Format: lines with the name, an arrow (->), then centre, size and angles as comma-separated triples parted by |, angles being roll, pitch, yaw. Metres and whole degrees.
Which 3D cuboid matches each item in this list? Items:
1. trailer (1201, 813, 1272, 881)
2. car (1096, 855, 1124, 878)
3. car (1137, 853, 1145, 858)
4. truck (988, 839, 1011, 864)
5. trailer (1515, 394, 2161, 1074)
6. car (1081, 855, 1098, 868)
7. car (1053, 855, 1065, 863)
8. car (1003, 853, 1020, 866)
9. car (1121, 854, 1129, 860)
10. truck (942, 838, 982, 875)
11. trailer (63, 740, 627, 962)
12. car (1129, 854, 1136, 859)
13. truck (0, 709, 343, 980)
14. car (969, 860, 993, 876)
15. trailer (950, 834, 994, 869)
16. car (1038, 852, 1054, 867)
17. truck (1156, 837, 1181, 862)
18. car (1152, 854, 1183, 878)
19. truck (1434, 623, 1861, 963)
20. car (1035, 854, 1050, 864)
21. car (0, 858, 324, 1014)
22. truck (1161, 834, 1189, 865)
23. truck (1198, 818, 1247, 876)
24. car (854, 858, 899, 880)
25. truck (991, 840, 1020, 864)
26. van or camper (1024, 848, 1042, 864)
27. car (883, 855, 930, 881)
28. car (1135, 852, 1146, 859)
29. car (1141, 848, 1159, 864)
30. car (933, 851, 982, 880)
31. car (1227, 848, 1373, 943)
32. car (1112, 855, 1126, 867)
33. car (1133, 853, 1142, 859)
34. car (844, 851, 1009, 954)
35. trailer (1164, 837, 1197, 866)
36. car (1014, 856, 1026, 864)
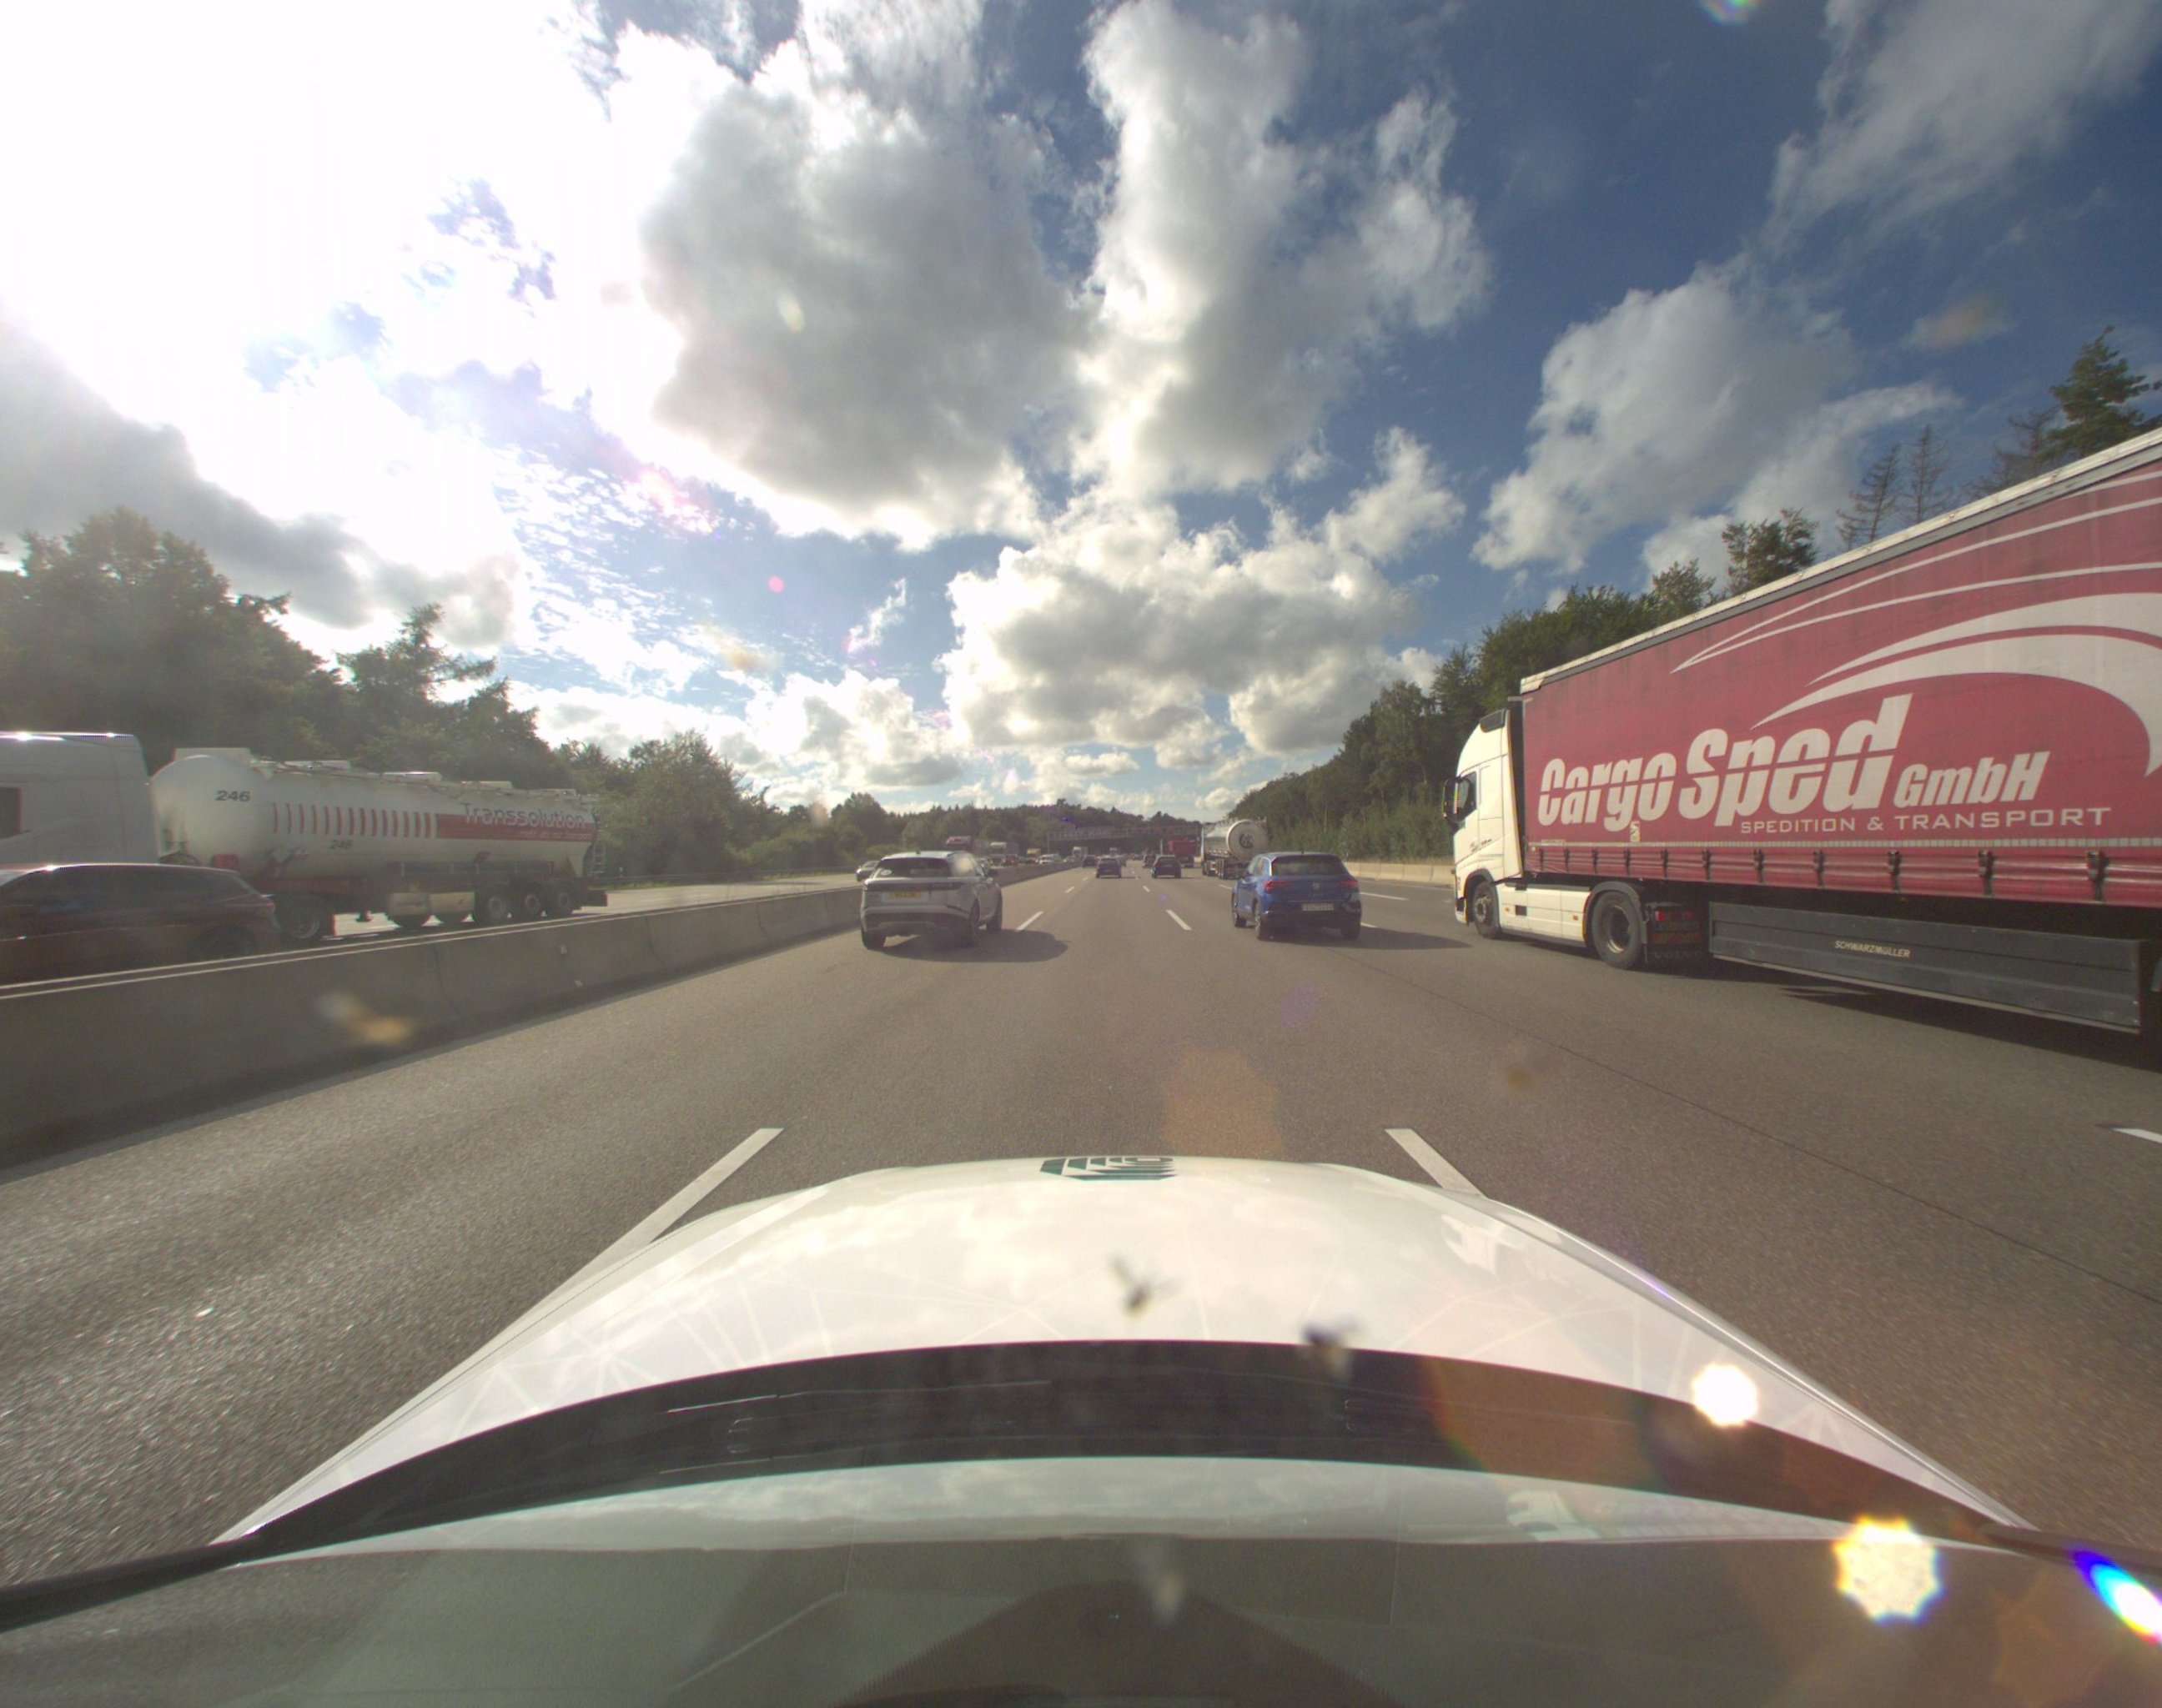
trailer -> 9.682, -0.422, 52.004 | 2.638, 3.767, 11.867 | -2, 0, 3
car -> 2.012, 0.846, 56.515 | 1.815, 1.546, 4.002 | -1, 0, 2
car -> 16.996, 0.465, 231.460 | 2.070, 1.457, 4.000 | -3, 0, 1
truck -> -13.960, -0.402, 140.414 | 2.806, 4.094, 6.068 | -1, 0, 4
trailer -> 7.841, -0.730, 5.569 | 2.763, 4.045, 13.719 | -1, 0, 2
car -> 1.110, 0.970, 103.866 | 1.933, 1.457, 4.005 | -3, 0, 5
car -> -4.250, 0.944, 157.841 | 1.775, 1.470, 4.336 | -1, 0, 4
car -> -10.698, 0.892, 125.314 | 1.839, 1.940, 5.037 | -1, 0, 3
car -> 11.751, 0.757, 218.899 | 2.068, 1.457, 4.003 | -3, 0, 2
truck -> -13.179, 0.254, 90.734 | 2.954, 3.858, 6.771 | -1, 0, 3
trailer -> -16.687, -0.057, 20.788 | 2.776, 3.945, 12.260 | -1, 0, 3
car -> 15.788, 0.757, 249.122 | 1.920, 1.457, 4.397 | -3, 0, 4
truck -> -17.022, -0.112, 13.884 | 2.777, 3.945, 6.449 | -1, 0, 2
car -> -9.901, 1.365, 80.895 | 1.596, 1.403, 4.004 | -1, 0, 3
trailer -> -12.808, -0.291, 96.821 | 2.954, 3.858, 11.292 | -1, 0, 4
car -> -4.805, 0.761, 111.933 | 1.842, 1.878, 4.617 | -2, 0, 1
truck -> 14.339, -0.708, 133.920 | 3.107, 3.935, 10.414 | -1, 0, 2
car -> 5.669, 0.778, 53.708 | 1.814, 1.457, 4.004 | -1, 0, 4
truck -> 8.084, -0.738, 12.732 | 2.763, 4.045, 5.776 | -1, 0, 2
car -> -6.496, 0.874, 136.979 | 1.835, 1.596, 4.920 | -2, 0, 5
car -> -12.622, 0.921, 9.883 | 1.848, 1.670, 5.213 | -1, 0, 2
truck -> 11.475, -0.570, 99.723 | 2.702, 3.718, 5.816 | -1, 0, -1
truck -> 9.959, -0.455, 57.902 | 2.638, 3.823, 6.086 | -2, 0, 3
car -> -14.843, 1.058, 59.288 | 1.819, 1.414, 4.679 | -1, 0, 3
truck -> -13.466, -0.347, 146.838 | 2.806, 4.094, 13.861 | -1, 0, 4
van or camper -> -8.897, 0.349, 150.667 | 2.364, 2.891, 6.512 | -2, 0, 3
car -> -11.742, 0.888, 55.072 | 1.987, 1.664, 4.688 | -1, 0, 1
car -> 12.610, 0.354, 172.834 | 1.935, 1.457, 4.000 | -3, 0, 1
car -> 8.099, 0.228, 95.897 | 1.887, 1.857, 4.101 | -1, 0, 1
car -> -7.785, 0.678, 51.937 | 2.147, 1.700, 5.352 | -1, 0, 2
car -> 3.994, 0.684, 15.607 | 1.766, 1.530, 4.461 | -1, 0, 3
car -> 5.008, 0.912, 107.297 | 1.815, 1.457, 4.003 | -1, -1, 3
car -> 14.480, 0.560, 210.228 | 2.070, 1.457, 4.000 | -3, 0, 1
car -> -2.684, 0.765, 15.538 | 1.999, 1.616, 5.302 | -1, 0, 1
trailer -> 11.461, -0.314, 94.680 | 2.701, 3.231, 9.732 | -1, 0, 0
car -> -12.241, 1.124, 163.008 | 1.689, 1.470, 4.027 | -1, 0, 4
